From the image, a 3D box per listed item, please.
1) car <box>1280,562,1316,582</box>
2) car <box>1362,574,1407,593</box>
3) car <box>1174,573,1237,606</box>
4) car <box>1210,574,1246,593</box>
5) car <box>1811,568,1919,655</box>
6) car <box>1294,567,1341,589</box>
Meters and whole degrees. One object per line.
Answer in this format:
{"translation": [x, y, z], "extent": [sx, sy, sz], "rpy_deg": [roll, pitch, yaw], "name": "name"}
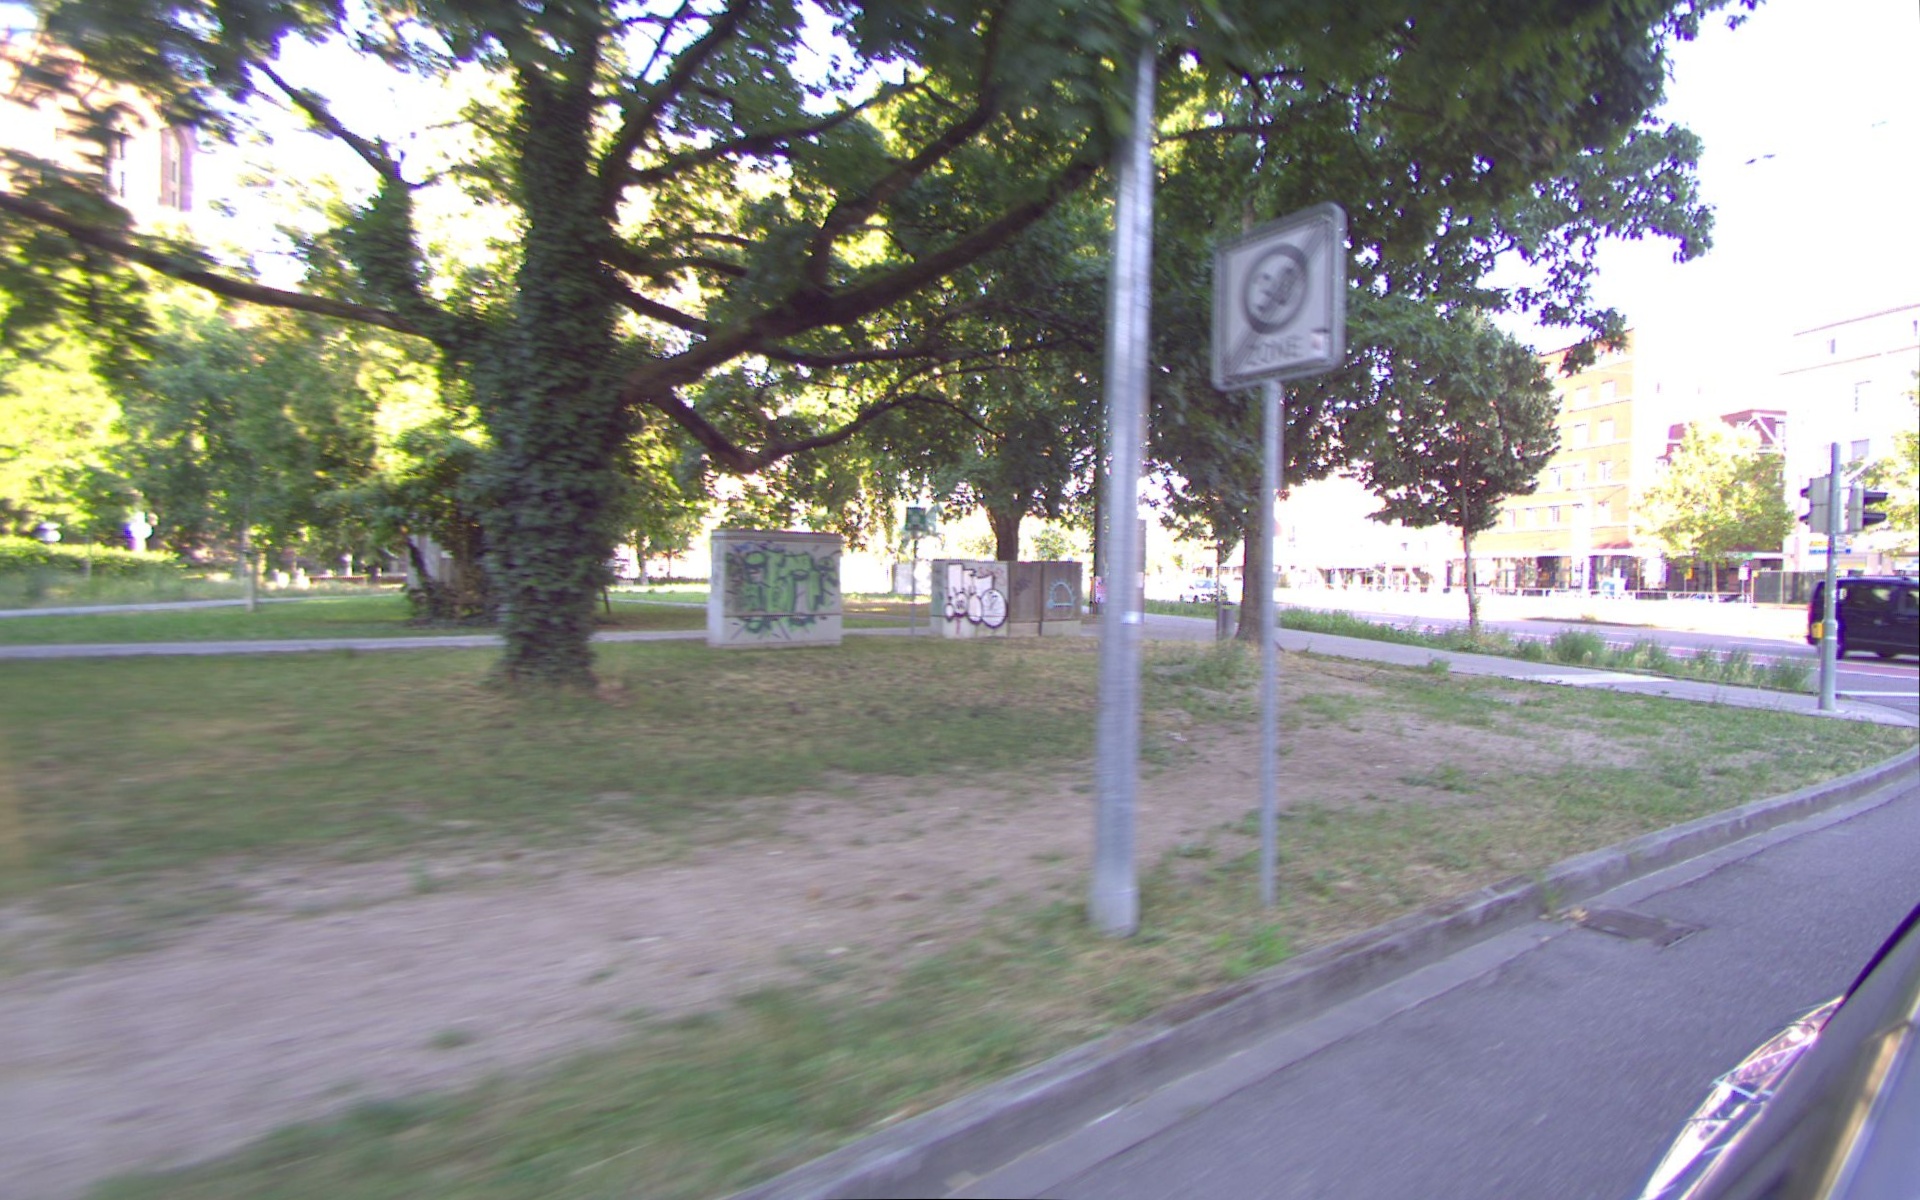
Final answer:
{"translation": [37.727, -3.114, 113.097], "extent": [1.919, 2.160, 4.581], "rpy_deg": [1, 1, -8], "name": "car"}
{"translation": [42.107, -1.680, 100.601], "extent": [1.959, 1.819, 4.749], "rpy_deg": [1, 1, -7], "name": "car"}
{"translation": [12.425, -0.591, 51.463], "extent": [1.798, 1.556, 4.284], "rpy_deg": [-1, 2, -5], "name": "car"}
{"translation": [29.479, -1.858, 111.526], "extent": [1.959, 2.038, 4.784], "rpy_deg": [0, 2, -9], "name": "car"}
{"translation": [20.093, 0.231, 20.544], "extent": [1.734, 1.754, 4.155], "rpy_deg": [0, 1, -9], "name": "car"}
{"translation": [32.059, -1.985, 91.013], "extent": [1.960, 1.841, 4.986], "rpy_deg": [1, 1, -6], "name": "car"}
